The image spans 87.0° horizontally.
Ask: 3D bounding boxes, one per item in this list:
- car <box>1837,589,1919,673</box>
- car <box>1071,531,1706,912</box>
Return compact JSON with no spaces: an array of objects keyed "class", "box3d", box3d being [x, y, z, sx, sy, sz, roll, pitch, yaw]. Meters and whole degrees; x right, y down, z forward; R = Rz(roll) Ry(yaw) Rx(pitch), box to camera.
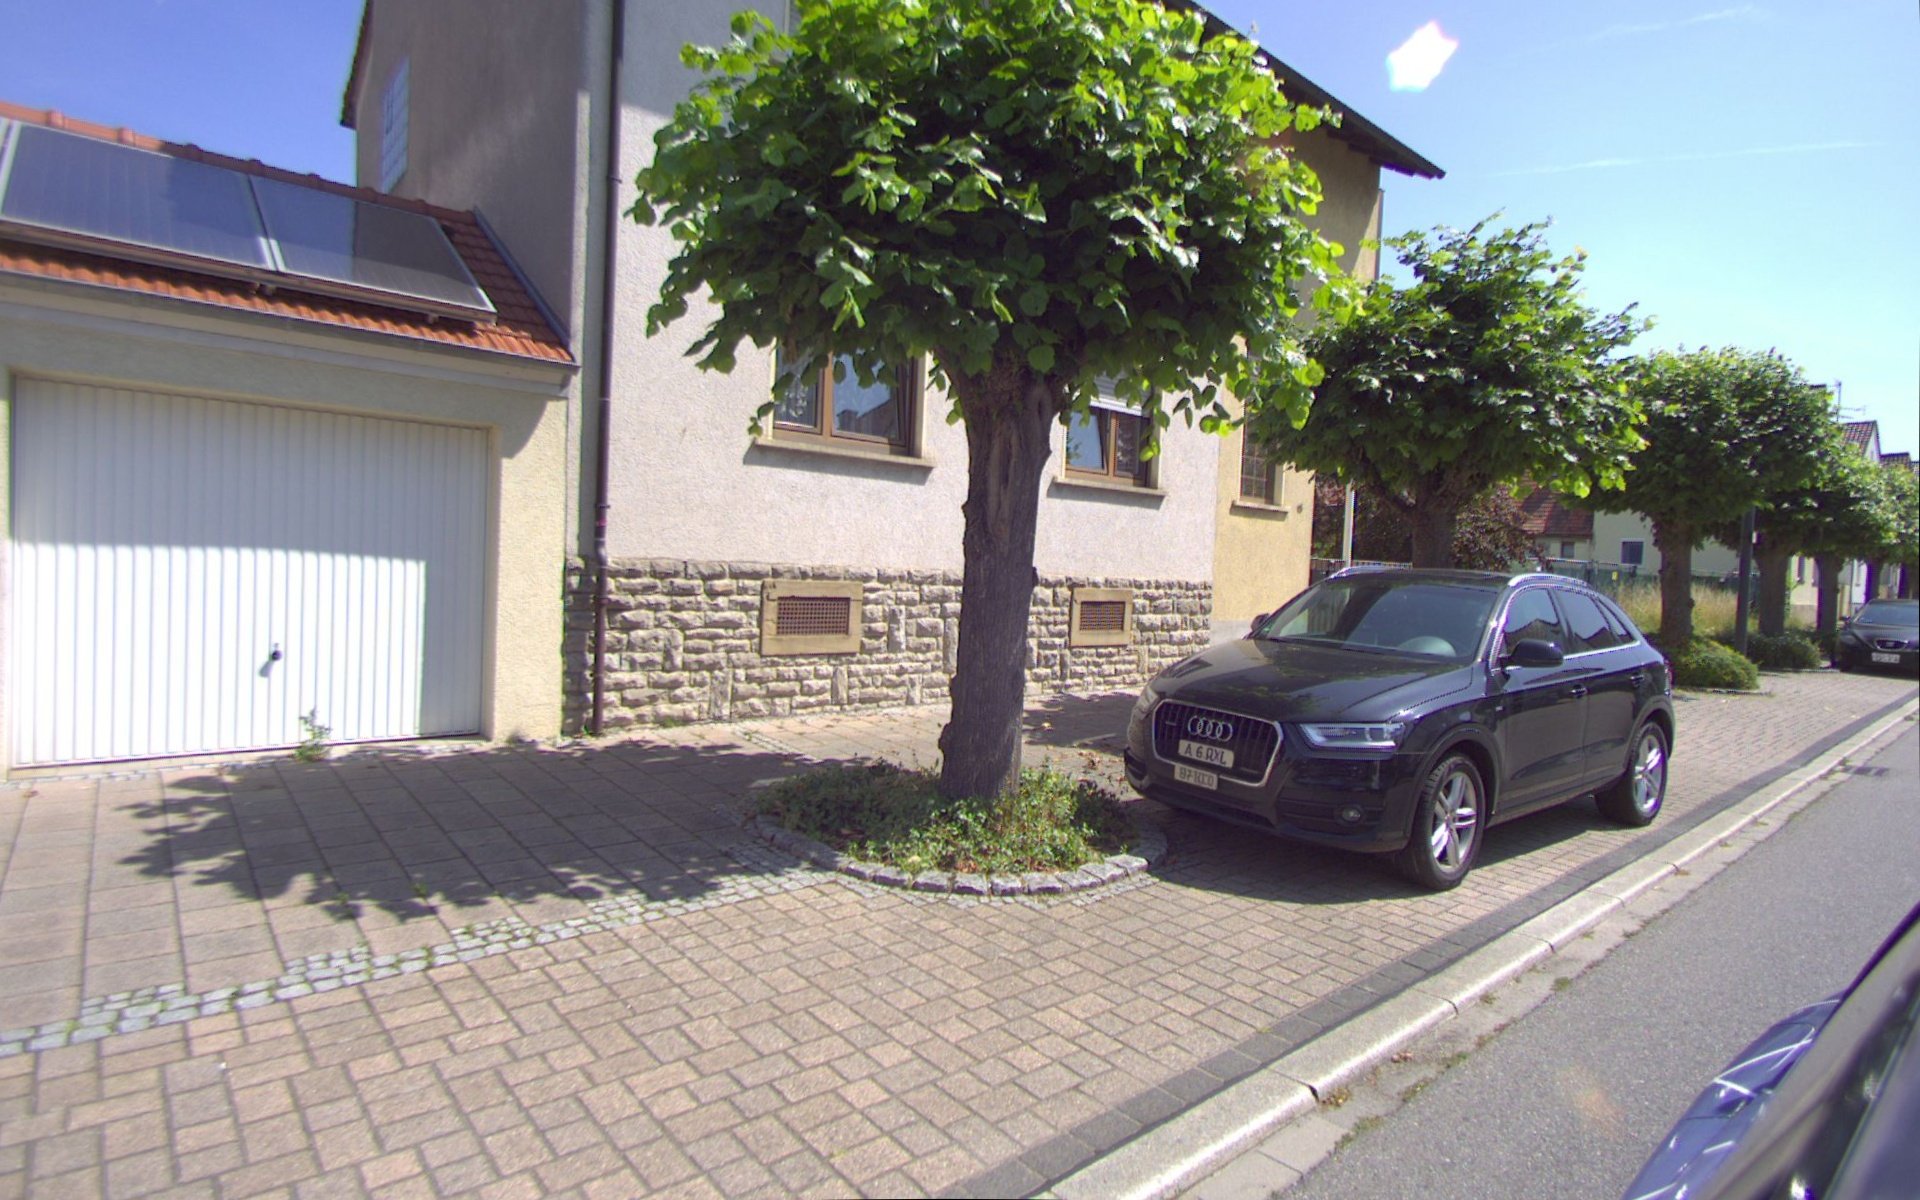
[{"class":"car","box3d":[18.840,0.584,19.892,3.986,1.449,1.828,0,4,-42]},{"class":"car","box3d":[2.795,0.493,6.268,3.982,1.605,1.830,1,3,-38]}]
